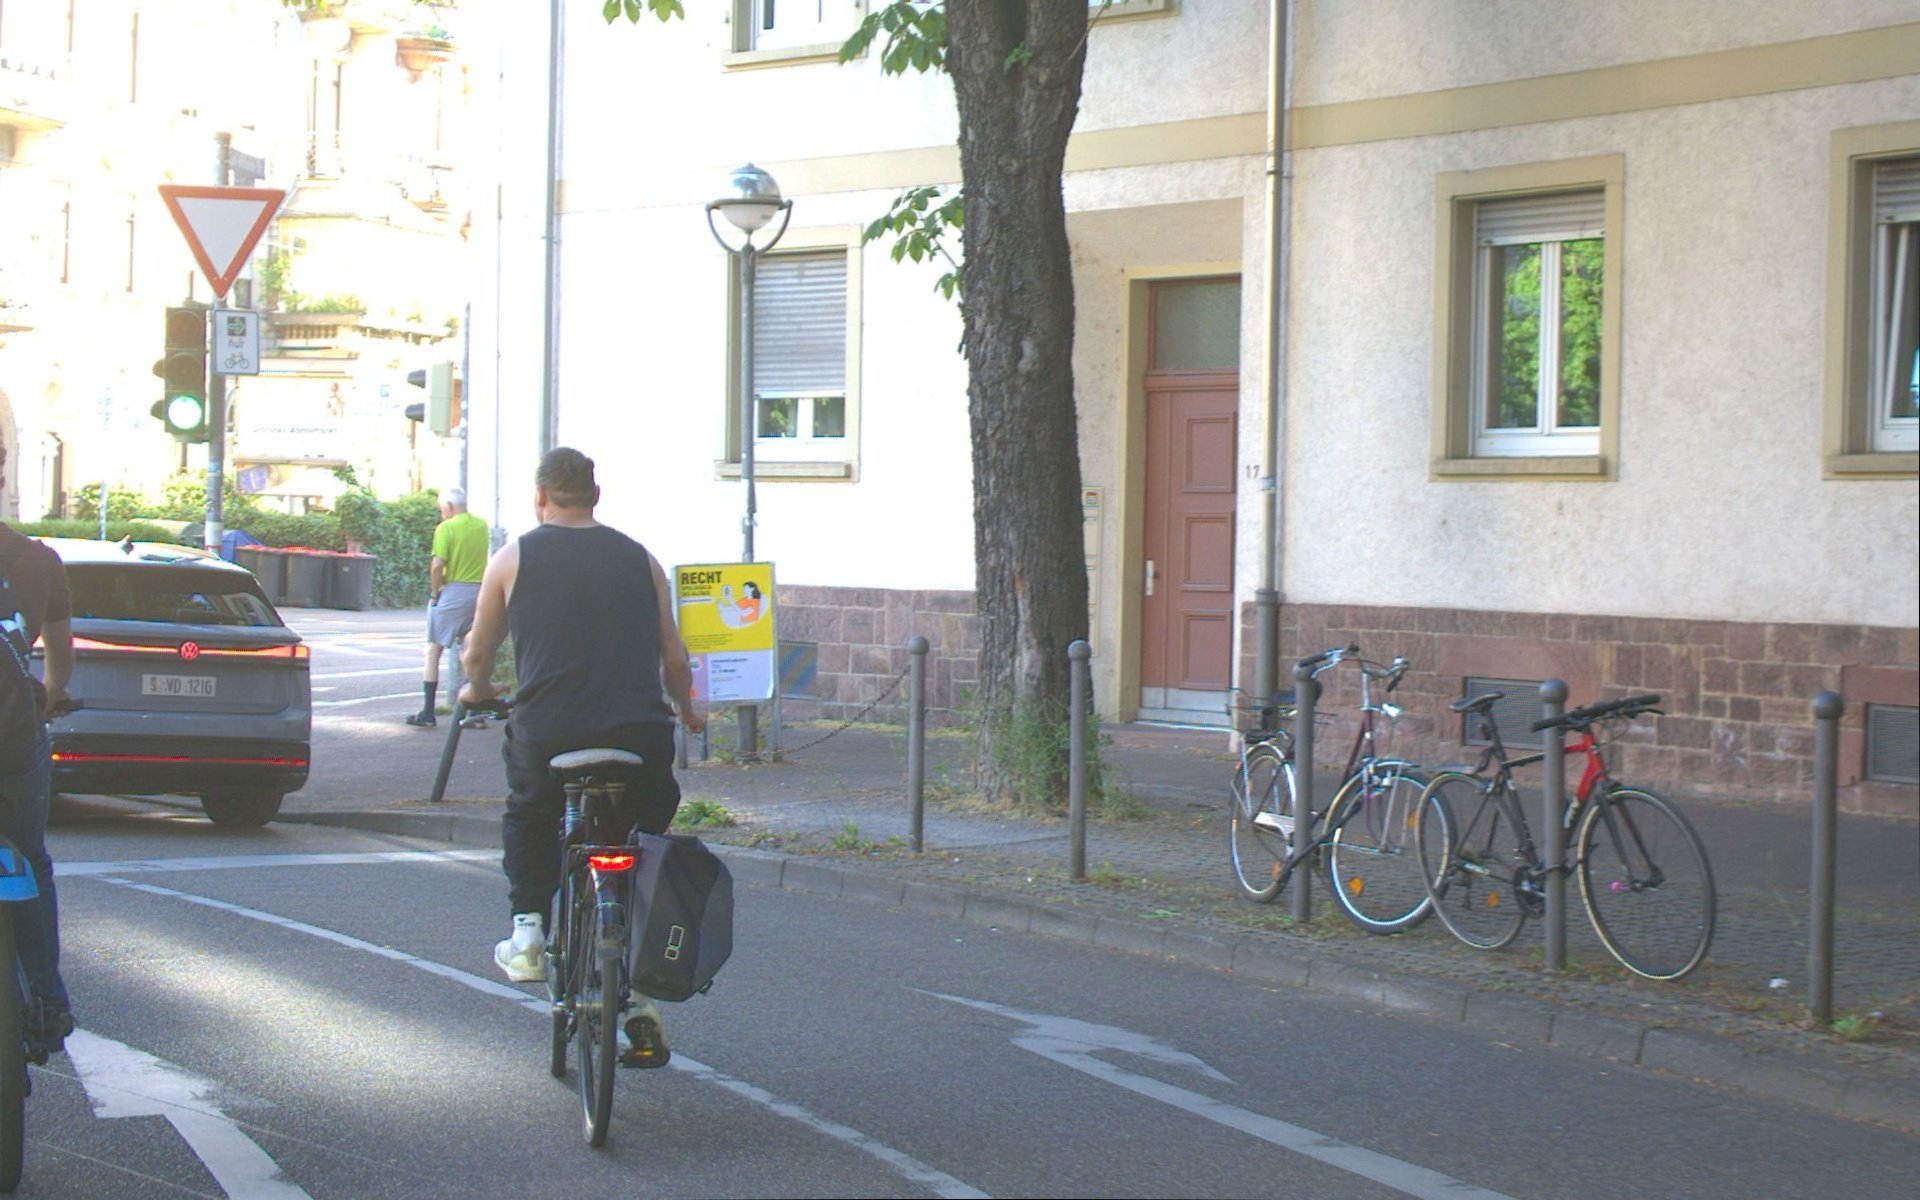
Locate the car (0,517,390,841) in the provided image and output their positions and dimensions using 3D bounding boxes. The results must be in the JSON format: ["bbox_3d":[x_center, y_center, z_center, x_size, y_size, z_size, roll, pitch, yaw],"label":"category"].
[{"bbox_3d":[-5.126,0.358,19.169,1.970,1.580,4.474,2,0,-36],"label":"car"}]

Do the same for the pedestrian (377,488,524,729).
[{"bbox_3d":[-3.747,0.046,25.256,0.643,1.721,0.888,-3,3,-43],"label":"pedestrian"}]

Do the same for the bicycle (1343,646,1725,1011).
[{"bbox_3d":[1.995,0.762,12.178,0.526,1.103,1.741,-2,2,-20],"label":"bicycle"}]

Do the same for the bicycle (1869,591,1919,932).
[{"bbox_3d":[4.143,0.625,12.433,0.717,1.273,1.967,0,1,-17],"label":"bicycle"}]

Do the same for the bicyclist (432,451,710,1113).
[{"bbox_3d":[-1.041,0.445,9.096,0.686,1.650,0.990,0,1,-8],"label":"bicyclist"}]

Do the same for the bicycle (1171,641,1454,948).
[{"bbox_3d":[1.379,0.740,13.720,0.480,1.060,1.636,-2,3,-18],"label":"bicycle"}]

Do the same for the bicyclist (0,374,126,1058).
[{"bbox_3d":[-2.413,0.253,8.321,0.706,1.568,0.957,2,1,-13],"label":"bicyclist"}]

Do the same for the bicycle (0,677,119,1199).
[{"bbox_3d":[-2.449,0.781,8.440,0.717,1.103,1.967,2,1,-14],"label":"bicycle"}]
